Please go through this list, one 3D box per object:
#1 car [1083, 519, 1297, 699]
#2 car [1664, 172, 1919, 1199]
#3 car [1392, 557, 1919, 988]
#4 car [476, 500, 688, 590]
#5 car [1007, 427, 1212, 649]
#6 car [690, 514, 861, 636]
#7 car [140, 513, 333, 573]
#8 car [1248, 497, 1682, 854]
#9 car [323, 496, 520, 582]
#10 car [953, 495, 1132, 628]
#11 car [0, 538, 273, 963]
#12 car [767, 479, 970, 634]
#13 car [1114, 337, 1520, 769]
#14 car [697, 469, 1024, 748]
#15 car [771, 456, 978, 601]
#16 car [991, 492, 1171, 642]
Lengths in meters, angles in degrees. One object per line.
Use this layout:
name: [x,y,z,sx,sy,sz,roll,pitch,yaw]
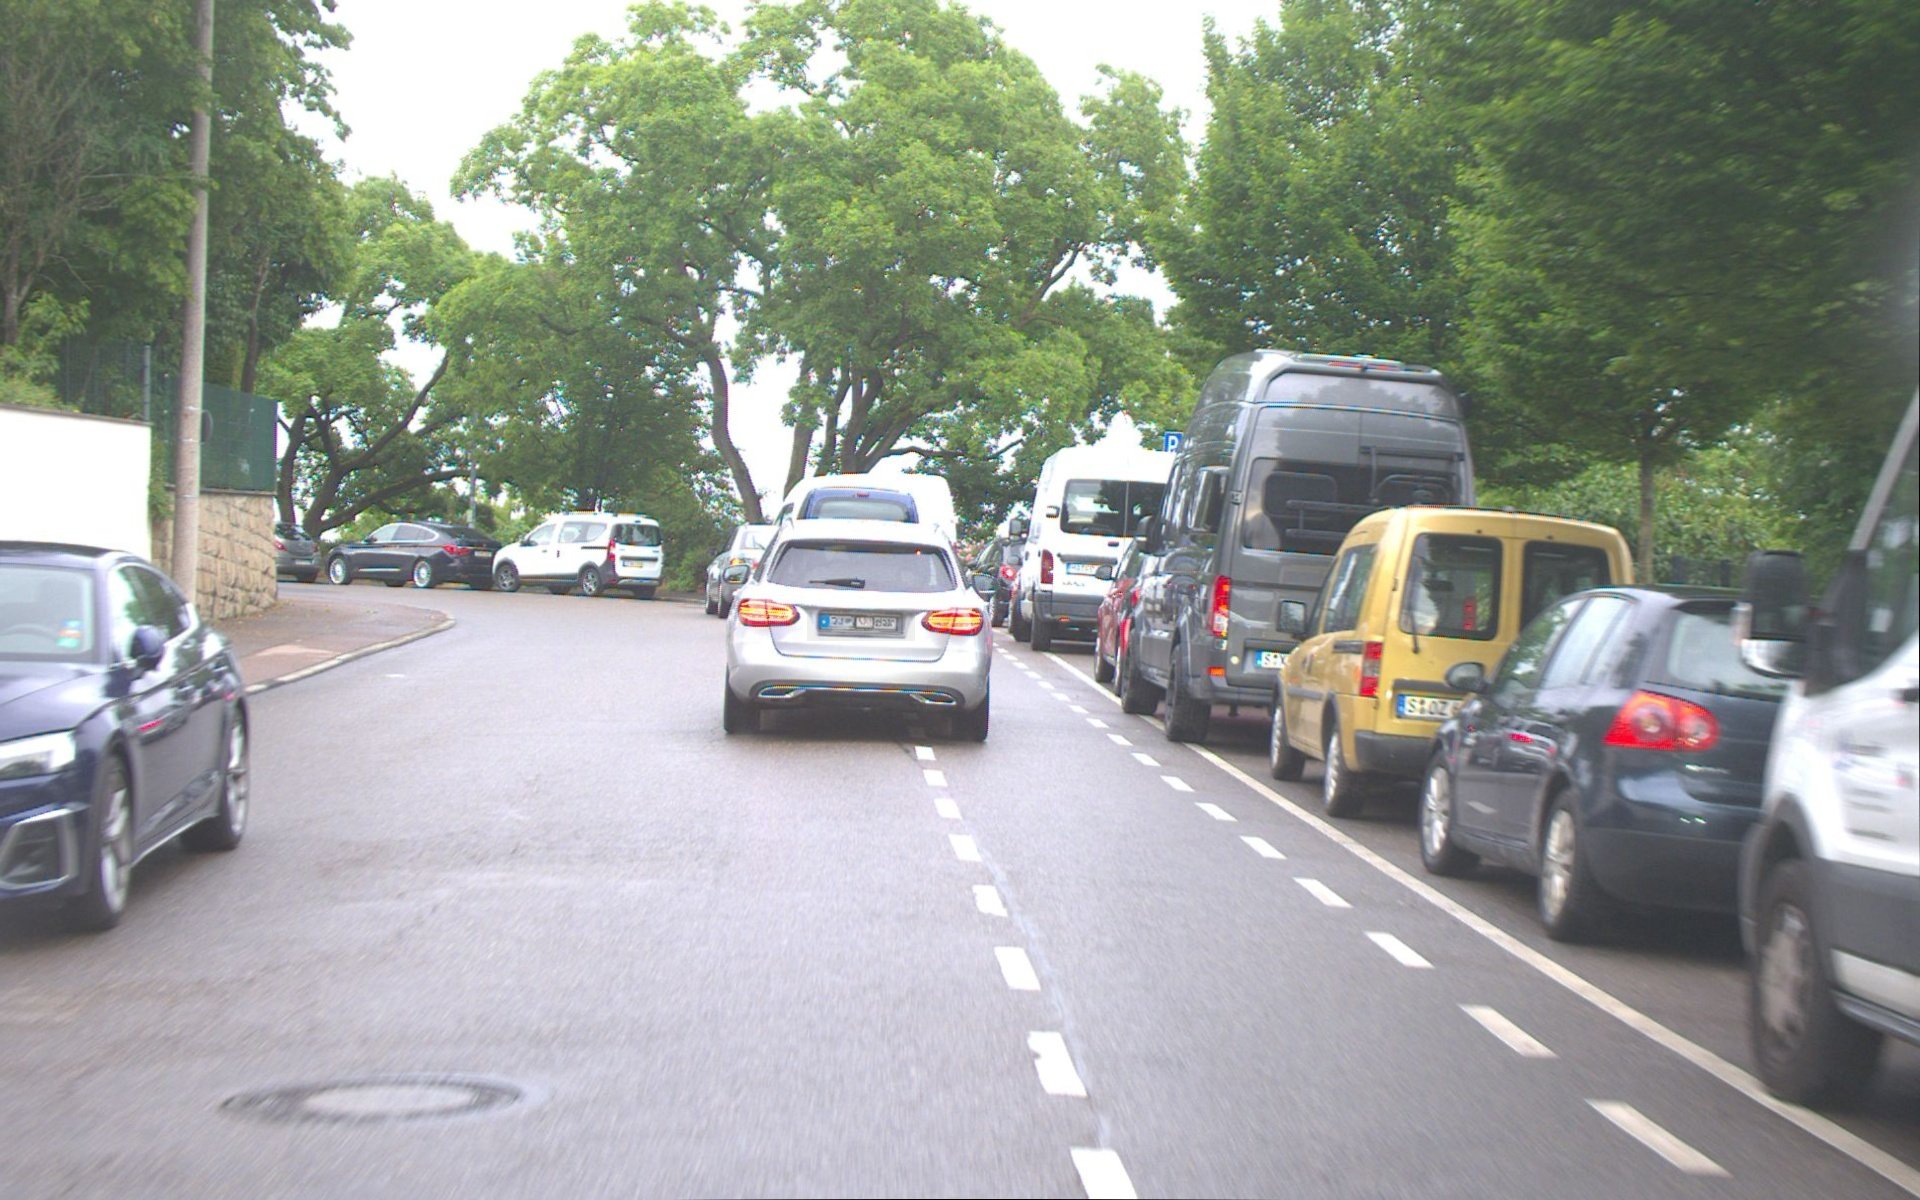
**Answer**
car: [2.157,0.038,33.060,1.583,1.522,3.586,3,2,-3]
car: [3.433,0.260,7.751,2.173,2.484,6.034,3,2,-1]
car: [3.122,0.636,14.981,1.671,1.453,4.224,4,1,-2]
car: [-8.342,-1.212,75.610,4.492,1.692,1.966,5,2,39]
car: [1.784,-0.797,42.672,2.064,2.485,4.760,3,2,-2]
car: [-2.846,-0.401,52.152,1.993,1.702,4.001,2,0,-11]
car: [-17.450,-1.388,82.890,4.490,1.397,1.967,1,2,34]
car: [2.887,0.343,20.585,1.727,1.779,4.276,5,2,-2]
car: [-12.444,-1.413,79.292,4.667,1.692,1.965,5,2,43]
car: [1.298,-0.676,56.333,2.063,1.953,4.498,3,2,-9]
car: [-3.957,0.472,13.658,1.748,1.353,4.426,-1,2,-3]
car: [-1.160,-0.522,41.640,1.993,1.702,4.001,2,0,-7]
car: [2.603,-0.412,26.700,2.124,2.877,5.770,3,2,-3]
car: [-0.720,-0.008,24.122,2.025,1.702,4.216,2,2,-2]
car: [-1.688,-1.398,65.734,2.125,2.518,4.498,2,2,-26]
car: [1.688,-0.524,49.709,2.064,1.953,4.497,3,2,-4]
